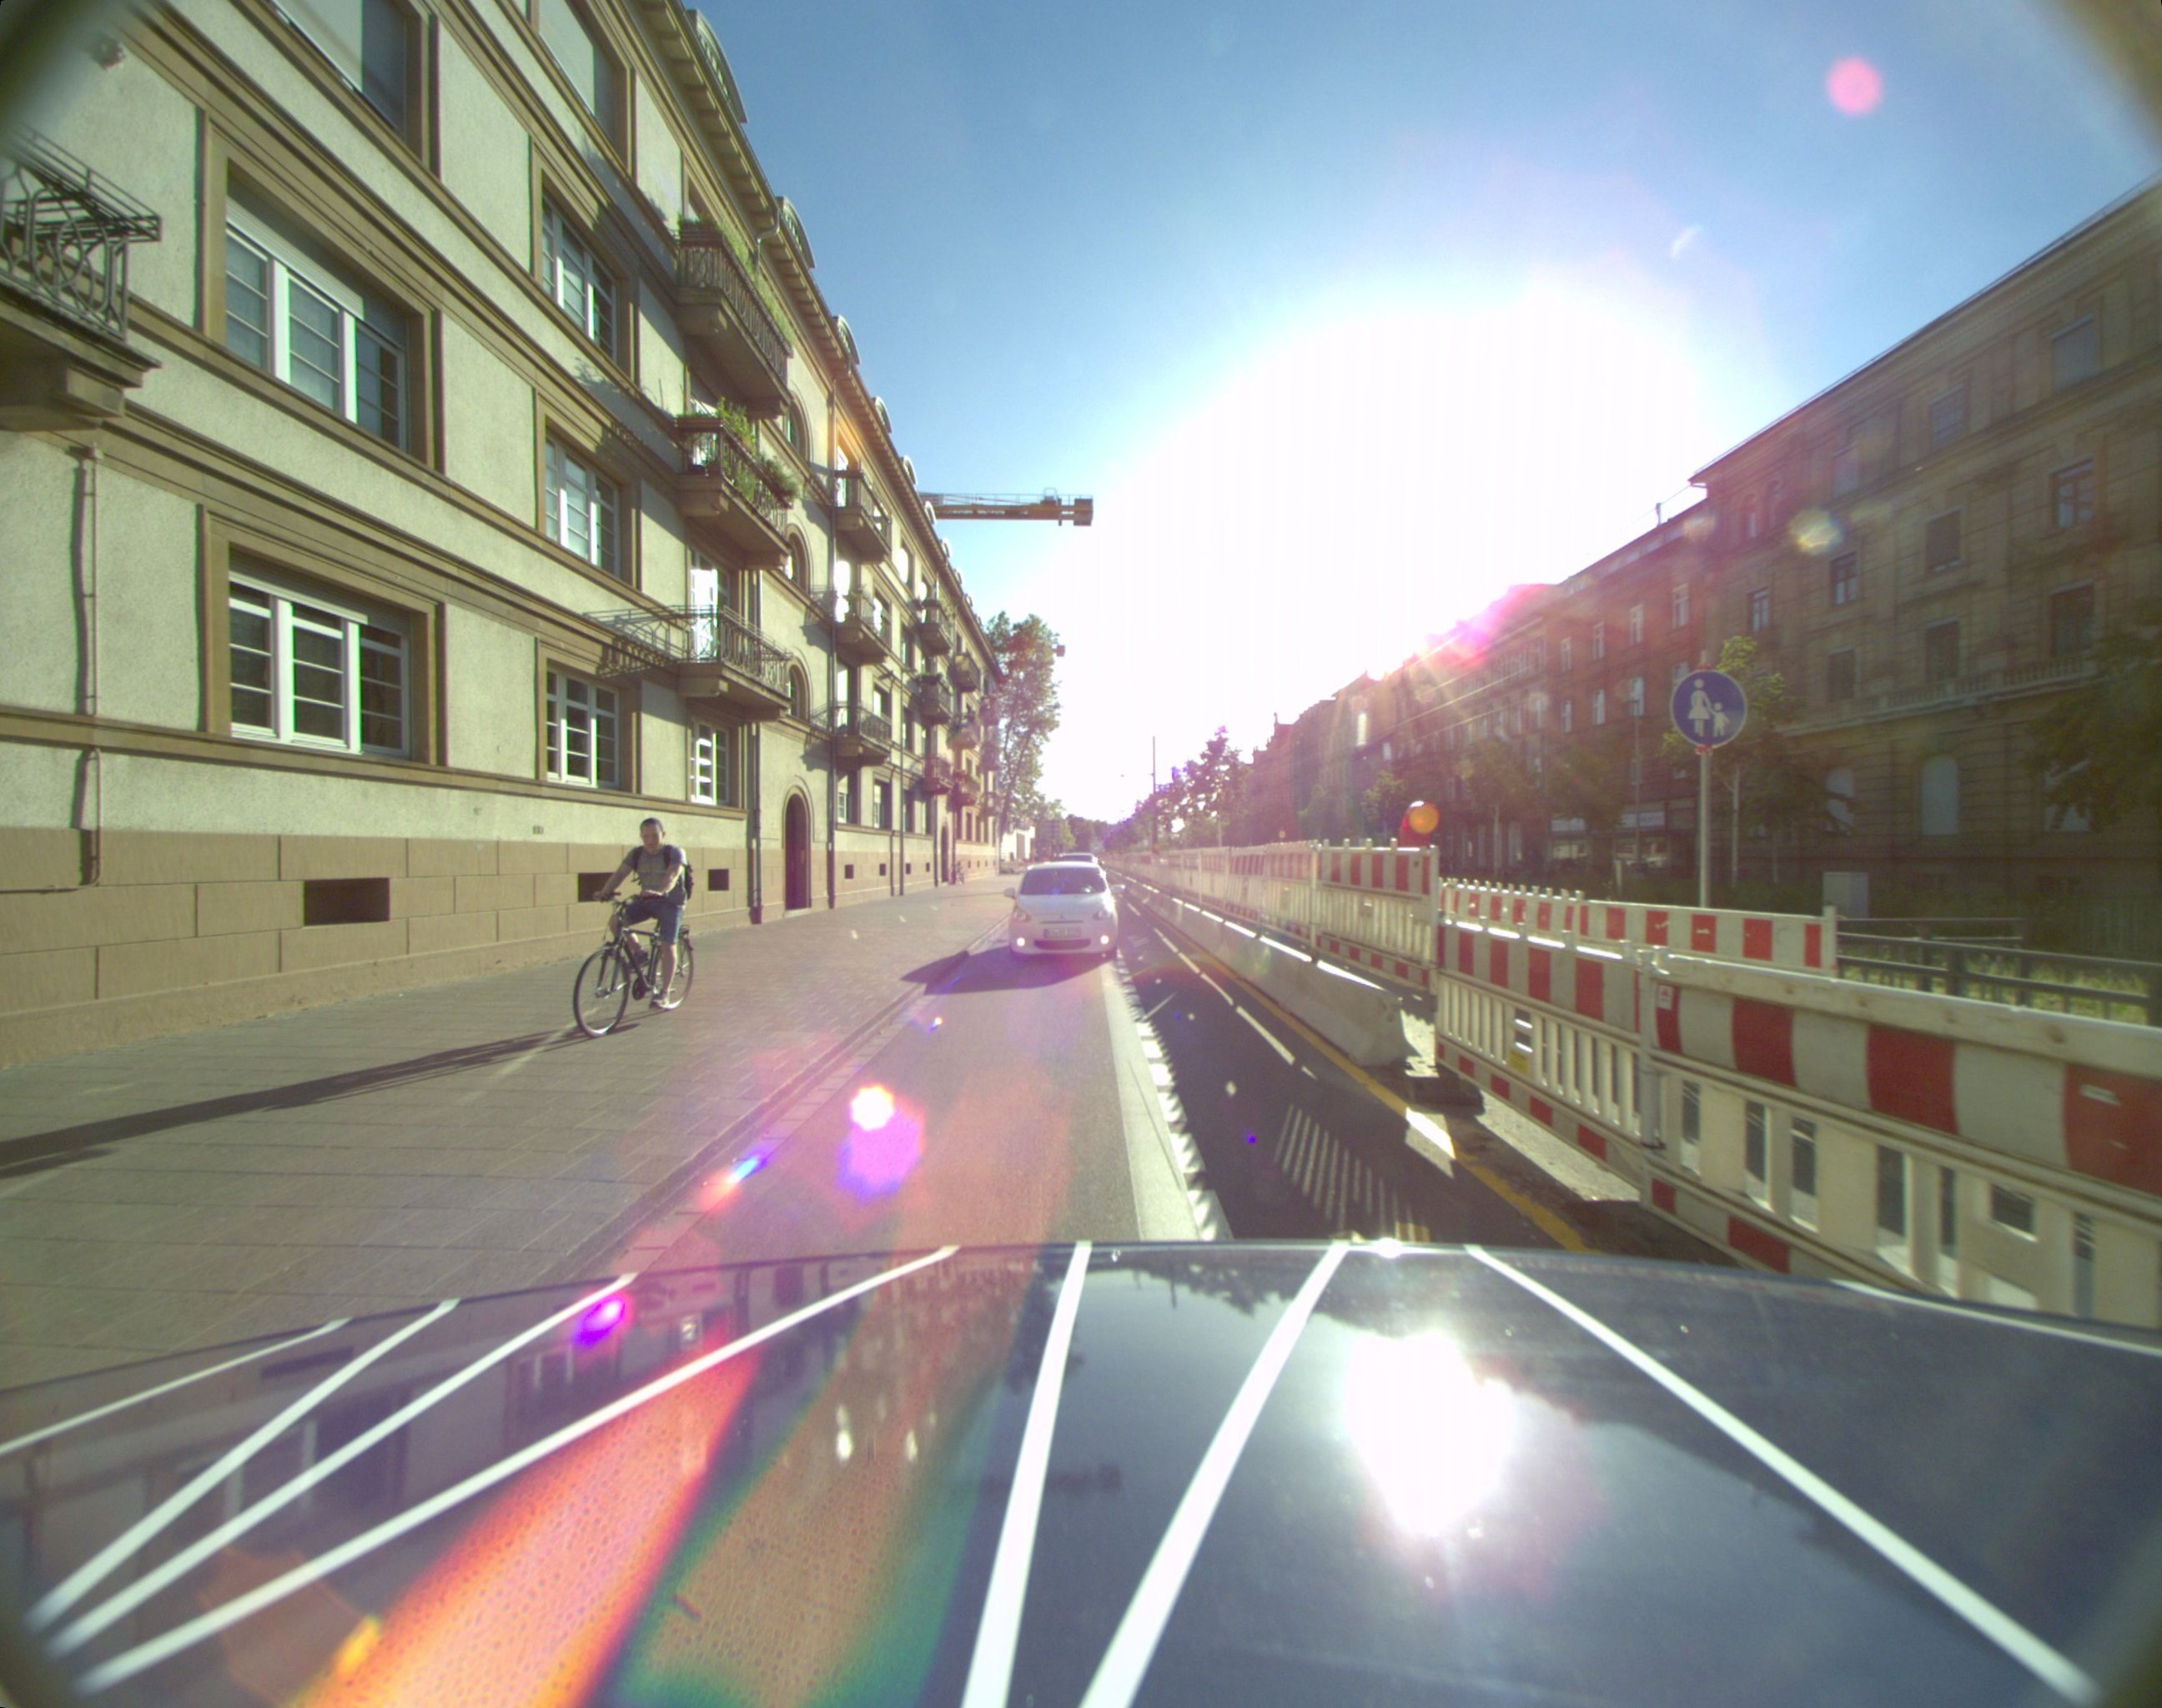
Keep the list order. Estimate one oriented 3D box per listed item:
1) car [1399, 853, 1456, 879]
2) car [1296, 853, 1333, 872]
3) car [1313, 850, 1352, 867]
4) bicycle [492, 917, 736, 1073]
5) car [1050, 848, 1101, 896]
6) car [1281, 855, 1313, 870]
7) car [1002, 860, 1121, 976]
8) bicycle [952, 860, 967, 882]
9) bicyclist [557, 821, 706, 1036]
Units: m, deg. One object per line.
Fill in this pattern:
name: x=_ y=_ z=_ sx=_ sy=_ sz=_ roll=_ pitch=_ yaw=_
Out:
car: x=23.538 y=0.790 z=51.826 sx=1.943 sy=1.648 sz=4.545 roll=-2 pitch=0 yaw=2
car: x=22.780 y=0.779 z=74.362 sx=1.999 sy=1.688 sz=4.887 roll=-2 pitch=0 yaw=0
car: x=22.516 y=0.409 z=68.106 sx=1.999 sy=1.429 sz=4.308 roll=-2 pitch=0 yaw=0
bicycle: x=-3.893 y=1.115 z=6.624 sx=0.769 sy=0.947 sz=2.198 roll=0 pitch=0 yaw=0
car: x=-0.207 y=0.703 z=31.254 sx=1.900 sy=1.730 sz=4.000 roll=-3 pitch=0 yaw=0
car: x=22.907 y=0.880 z=80.638 sx=1.998 sy=1.529 sz=4.984 roll=-2 pitch=0 yaw=1
car: x=-0.256 y=0.929 z=13.048 sx=1.634 sy=1.500 sz=4.349 roll=-2 pitch=1 yaw=1
bicycle: x=-6.259 y=0.864 z=39.147 sx=0.419 sy=1.089 sz=2.198 roll=0 pitch=0 yaw=1
bicyclist: x=-3.899 y=0.607 z=6.671 sx=0.734 sy=1.753 sz=0.937 roll=0 pitch=1 yaw=0
